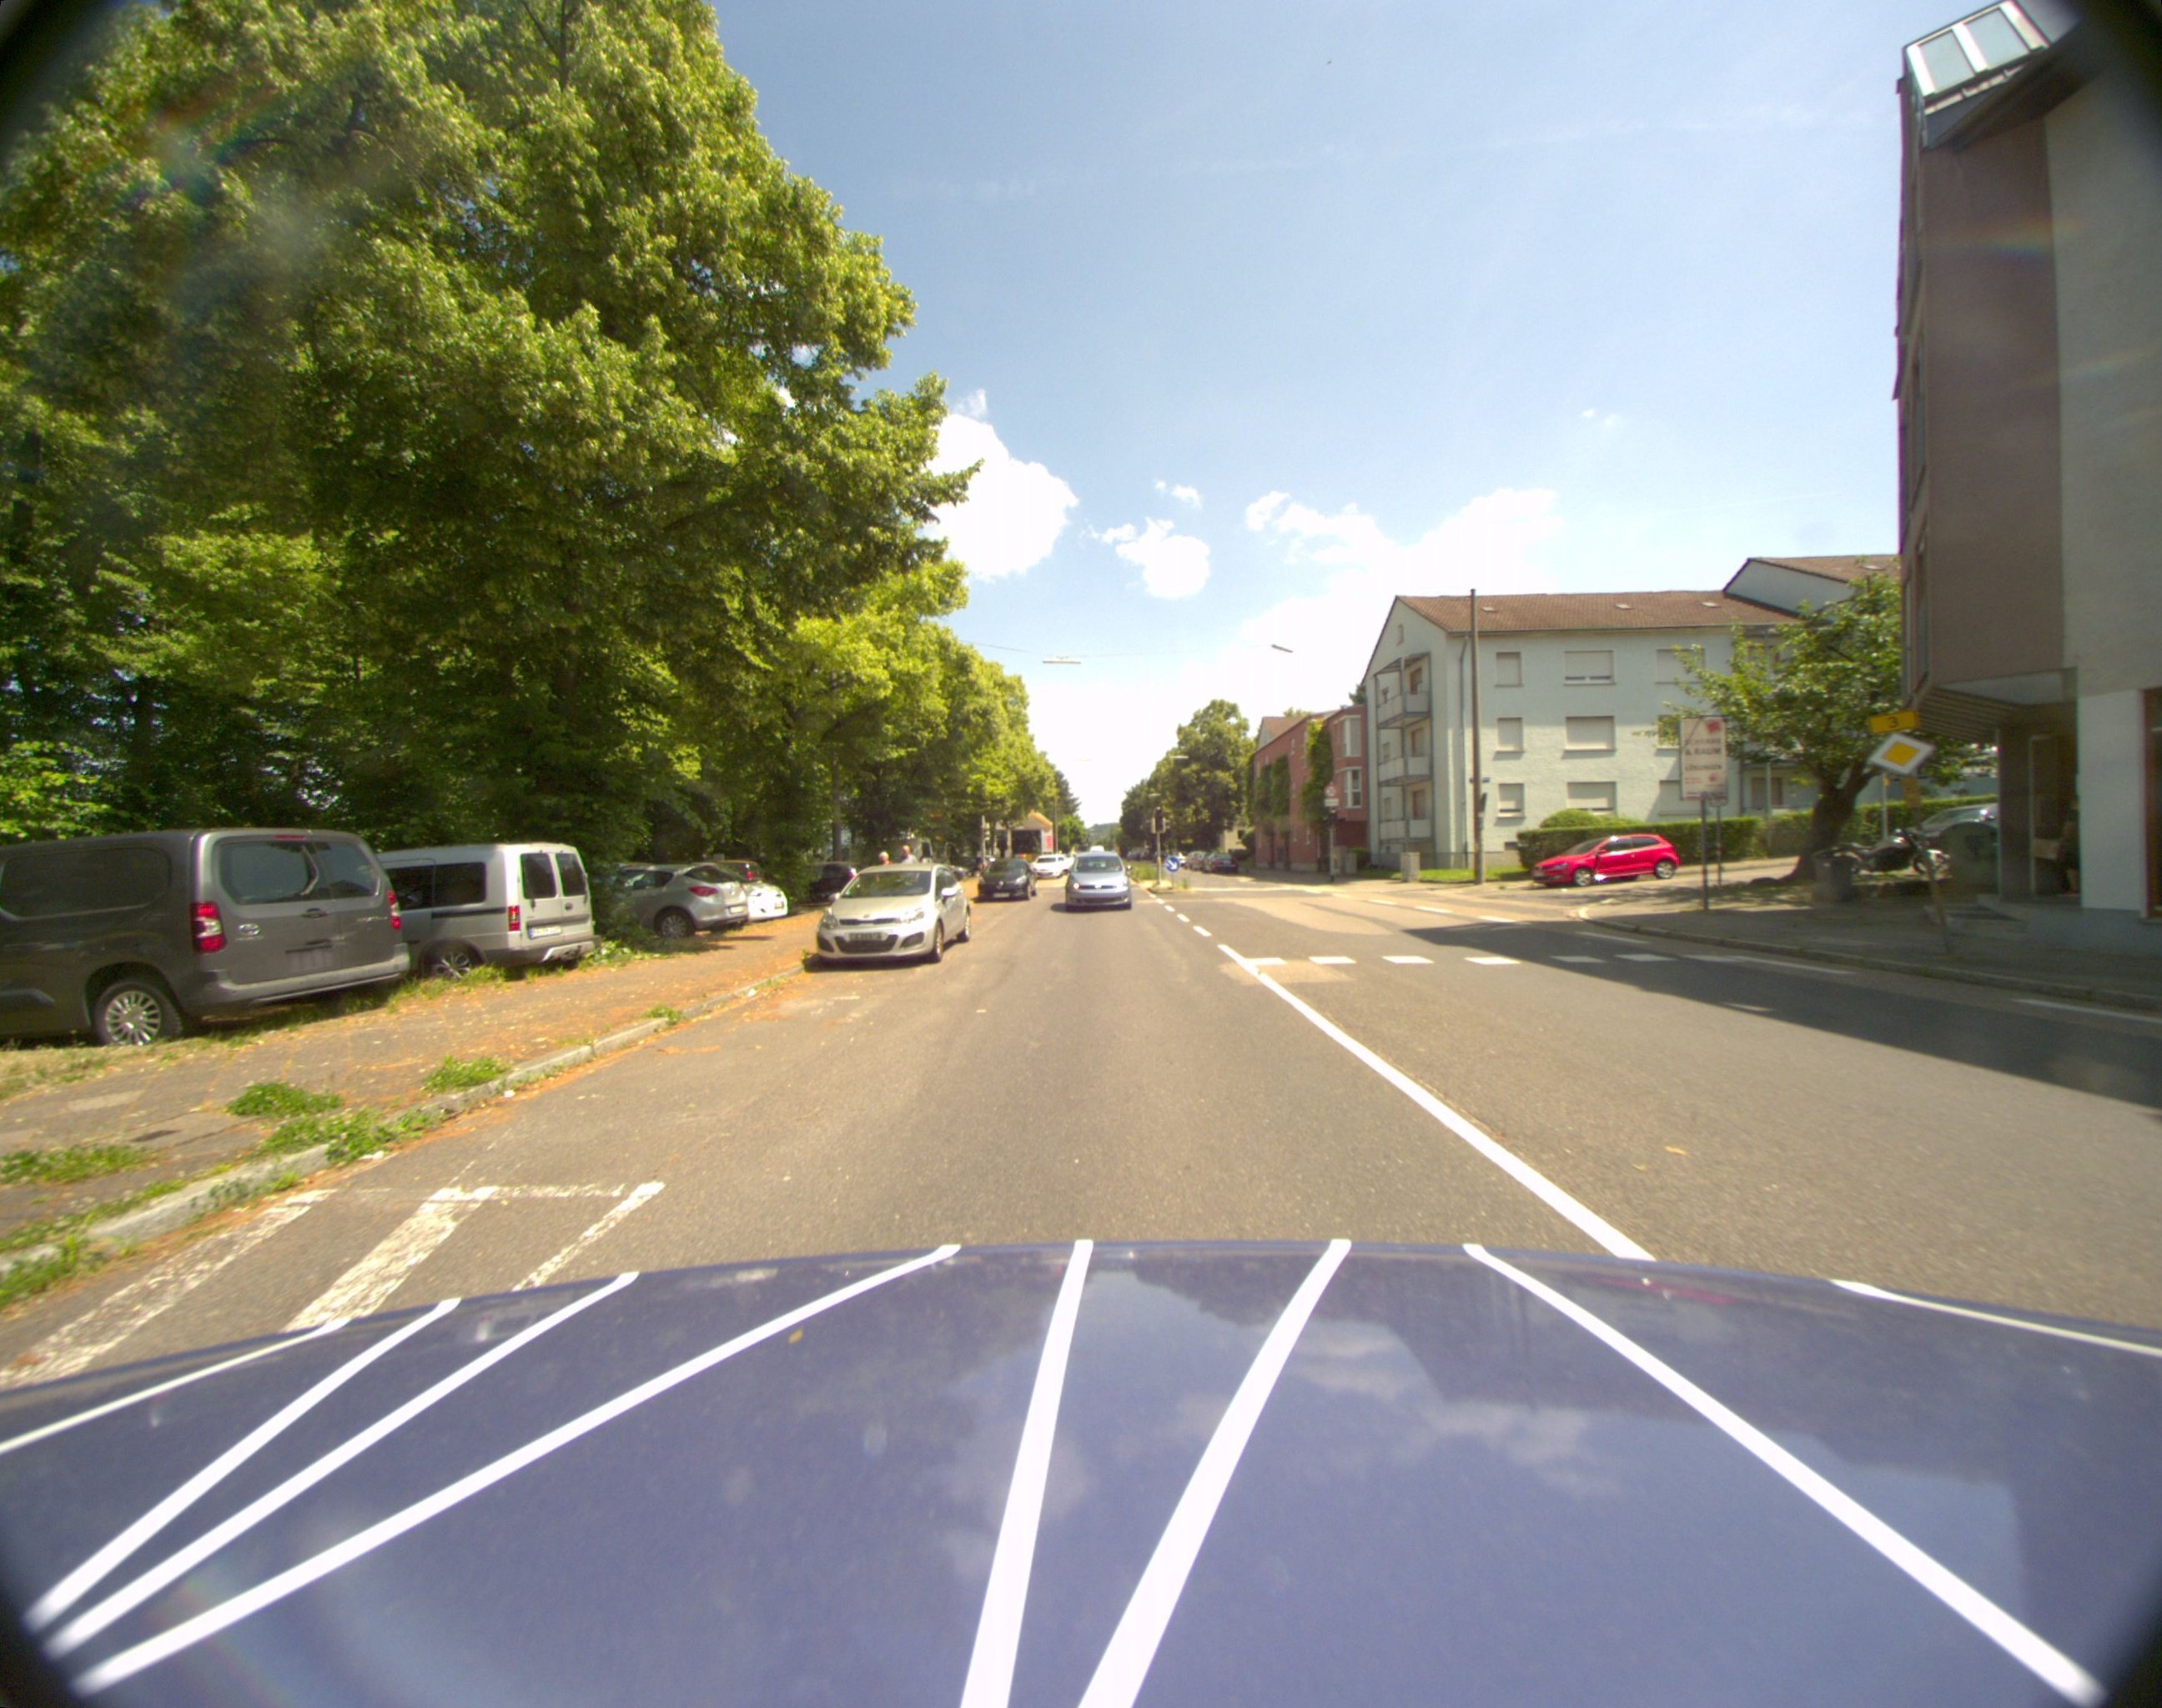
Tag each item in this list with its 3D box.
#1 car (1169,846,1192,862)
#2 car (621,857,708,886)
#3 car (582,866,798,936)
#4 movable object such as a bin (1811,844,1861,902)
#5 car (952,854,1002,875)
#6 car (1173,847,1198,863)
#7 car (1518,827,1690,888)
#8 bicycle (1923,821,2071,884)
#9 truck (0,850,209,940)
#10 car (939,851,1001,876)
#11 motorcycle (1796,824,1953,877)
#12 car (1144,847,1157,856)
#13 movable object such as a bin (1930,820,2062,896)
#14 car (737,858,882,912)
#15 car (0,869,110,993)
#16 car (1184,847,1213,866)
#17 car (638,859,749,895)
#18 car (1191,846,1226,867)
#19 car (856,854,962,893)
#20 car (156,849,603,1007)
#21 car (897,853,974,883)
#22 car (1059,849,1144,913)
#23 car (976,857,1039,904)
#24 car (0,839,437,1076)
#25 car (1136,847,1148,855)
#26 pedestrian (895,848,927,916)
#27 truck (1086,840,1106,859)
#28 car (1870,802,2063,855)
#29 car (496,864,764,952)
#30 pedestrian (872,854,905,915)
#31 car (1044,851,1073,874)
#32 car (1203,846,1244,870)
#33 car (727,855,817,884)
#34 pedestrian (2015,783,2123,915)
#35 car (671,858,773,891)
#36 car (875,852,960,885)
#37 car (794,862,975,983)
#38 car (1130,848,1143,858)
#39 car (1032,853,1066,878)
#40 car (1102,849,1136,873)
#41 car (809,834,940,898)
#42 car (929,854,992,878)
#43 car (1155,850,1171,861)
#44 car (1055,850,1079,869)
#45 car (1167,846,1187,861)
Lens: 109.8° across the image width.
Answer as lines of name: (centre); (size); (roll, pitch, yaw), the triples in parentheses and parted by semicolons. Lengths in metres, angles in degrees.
car: (10.231, -0.017, 78.204); (1.752, 1.499, 3.999); (-2, 1, 0)
car: (-22.628, 0.945, 41.370); (3.806, 1.456, 1.738); (-1, 1, 4)
car: (-8.739, 1.032, 17.203); (3.996, 1.420, 1.668); (-1, 1, 2)
movable object such as a bin: (14.889, 0.364, 14.982); (0.674, 1.090, 0.631); (-2, 1, -39)
car: (-8.310, 0.835, 60.706); (3.762, 1.518, 1.853); (-1, 1, -2)
car: (9.812, 0.093, 71.695); (1.752, 1.434, 3.999); (-2, 1, 0)
car: (16.023, 0.120, 23.411); (3.997, 1.443, 1.733); (-5, -1, 0)
bicycle: (19.027, -0.039, 15.810); (2.263, 1.228, 0.757); (-1, 1, -3)
truck: (-22.291, 0.873, 16.918); (3.806, 1.870, 1.738); (-1, 1, 3)
car: (-7.623, 0.650, 52.290); (3.763, 1.527, 1.631); (-2, 1, 12)
motorcycle: (19.209, -0.060, 18.495); (0.930, 1.028, 2.386); (-5, -3, -18)
car: (11.172, -0.407, 122.828); (1.757, 1.325, 3.607); (-2, 1, 0)
movable object such as a bin: (17.715, 0.070, 14.742); (1.277, 1.359, 1.086); (-2, 1, -4)
car: (-8.764, 0.977, 24.727); (3.996, 1.464, 1.717); (-3, 1, 3)
car: (-16.916, 1.100, 10.744); (3.998, 1.669, 1.701); (-1, 1, -2)
car: (9.977, 0.158, 64.763); (1.752, 1.499, 3.999); (-2, 1, 0)
car: (-17.114, 1.004, 33.669); (3.996, 1.465, 1.804); (-1, 1, 3)
car: (9.797, 0.194, 58.642); (1.891, 1.531, 4.567); (-1, 1, -1)
car: (-7.810, 0.880, 34.784); (4.336, 1.485, 1.808); (-3, 1, 0)
car: (-8.312, 0.810, 9.308); (3.774, 1.657, 1.663); (-1, 1, -3)
car: (-8.289, 0.779, 43.493); (4.078, 1.485, 1.636); (-2, 1, 0)
car: (0.670, 0.665, 20.724); (1.746, 1.513, 4.225); (-1, 1, 9)
car: (-2.498, 0.873, 26.795); (1.667, 1.420, 4.000); (-2, 0, 2)
car: (-8.635, 0.818, 6.765); (3.997, 1.741, 2.016); (-2, 1, 0)
car: (11.173, -0.616, 139.639); (1.757, 1.325, 3.607); (-2, 1, 0)
pedestrian: (-4.529, 0.741, 20.279); (0.618, 1.754, 0.737); (-2, 1, 1)
truck: (1.860, -0.551, 91.664); (1.866, 2.211, 4.506); (-2, 0, 6)
car: (27.050, -0.752, 23.298); (3.788, 1.144, 1.734); (-5, -3, 0)
car: (-8.424, 0.989, 14.418); (3.995, 1.390, 1.808); (-2, 1, 5)
pedestrian: (-5.131, 0.802, 20.284); (0.618, 1.584, 0.737); (-2, 1, 1)
car: (-1.627, 0.596, 56.166); (1.867, 1.516, 4.208); (-2, 0, 2)
car: (9.720, 0.252, 52.282); (1.891, 1.531, 4.567); (-1, 1, -1)
car: (-17.229, 0.849, 42.460); (4.263, 1.578, 1.818); (-1, 1, 0)
pedestrian: (15.629, -0.079, 12.042); (0.600, 2.002, 0.838); (-2, 1, -6)
car: (-17.166, 0.959, 36.475); (3.996, 1.465, 1.804); (-1, 1, 3)
car: (-8.670, 0.766, 40.548); (4.078, 1.485, 1.636); (-3, 1, 0)
car: (-2.922, 0.953, 12.180); (1.771, 1.477, 3.890); (-2, 1, 1)
car: (8.464, -0.164, 116.251); (1.752, 1.499, 3.999); (-2, 1, 0)
car: (-1.991, 0.697, 48.494); (1.721, 1.434, 4.111); (-3, 0, 2)
car: (2.576, 0.446, 53.048); (1.868, 1.516, 4.290); (-2, 0, -3)
car: (-8.354, 0.479, 31.082); (4.613, 2.263, 2.106); (-3, 1, 2)
car: (-7.661, 0.739, 48.539); (3.848, 1.350, 1.628); (-2, 1, -7)
car: (10.875, 0.191, 101.147); (1.757, 1.325, 3.607); (-2, 1, 0)
car: (-1.141, 0.449, 63.092); (1.775, 1.434, 3.338); (-2, 0, 2)
car: (10.480, -0.071, 83.370); (1.572, 1.499, 3.999); (-2, 1, 0)
